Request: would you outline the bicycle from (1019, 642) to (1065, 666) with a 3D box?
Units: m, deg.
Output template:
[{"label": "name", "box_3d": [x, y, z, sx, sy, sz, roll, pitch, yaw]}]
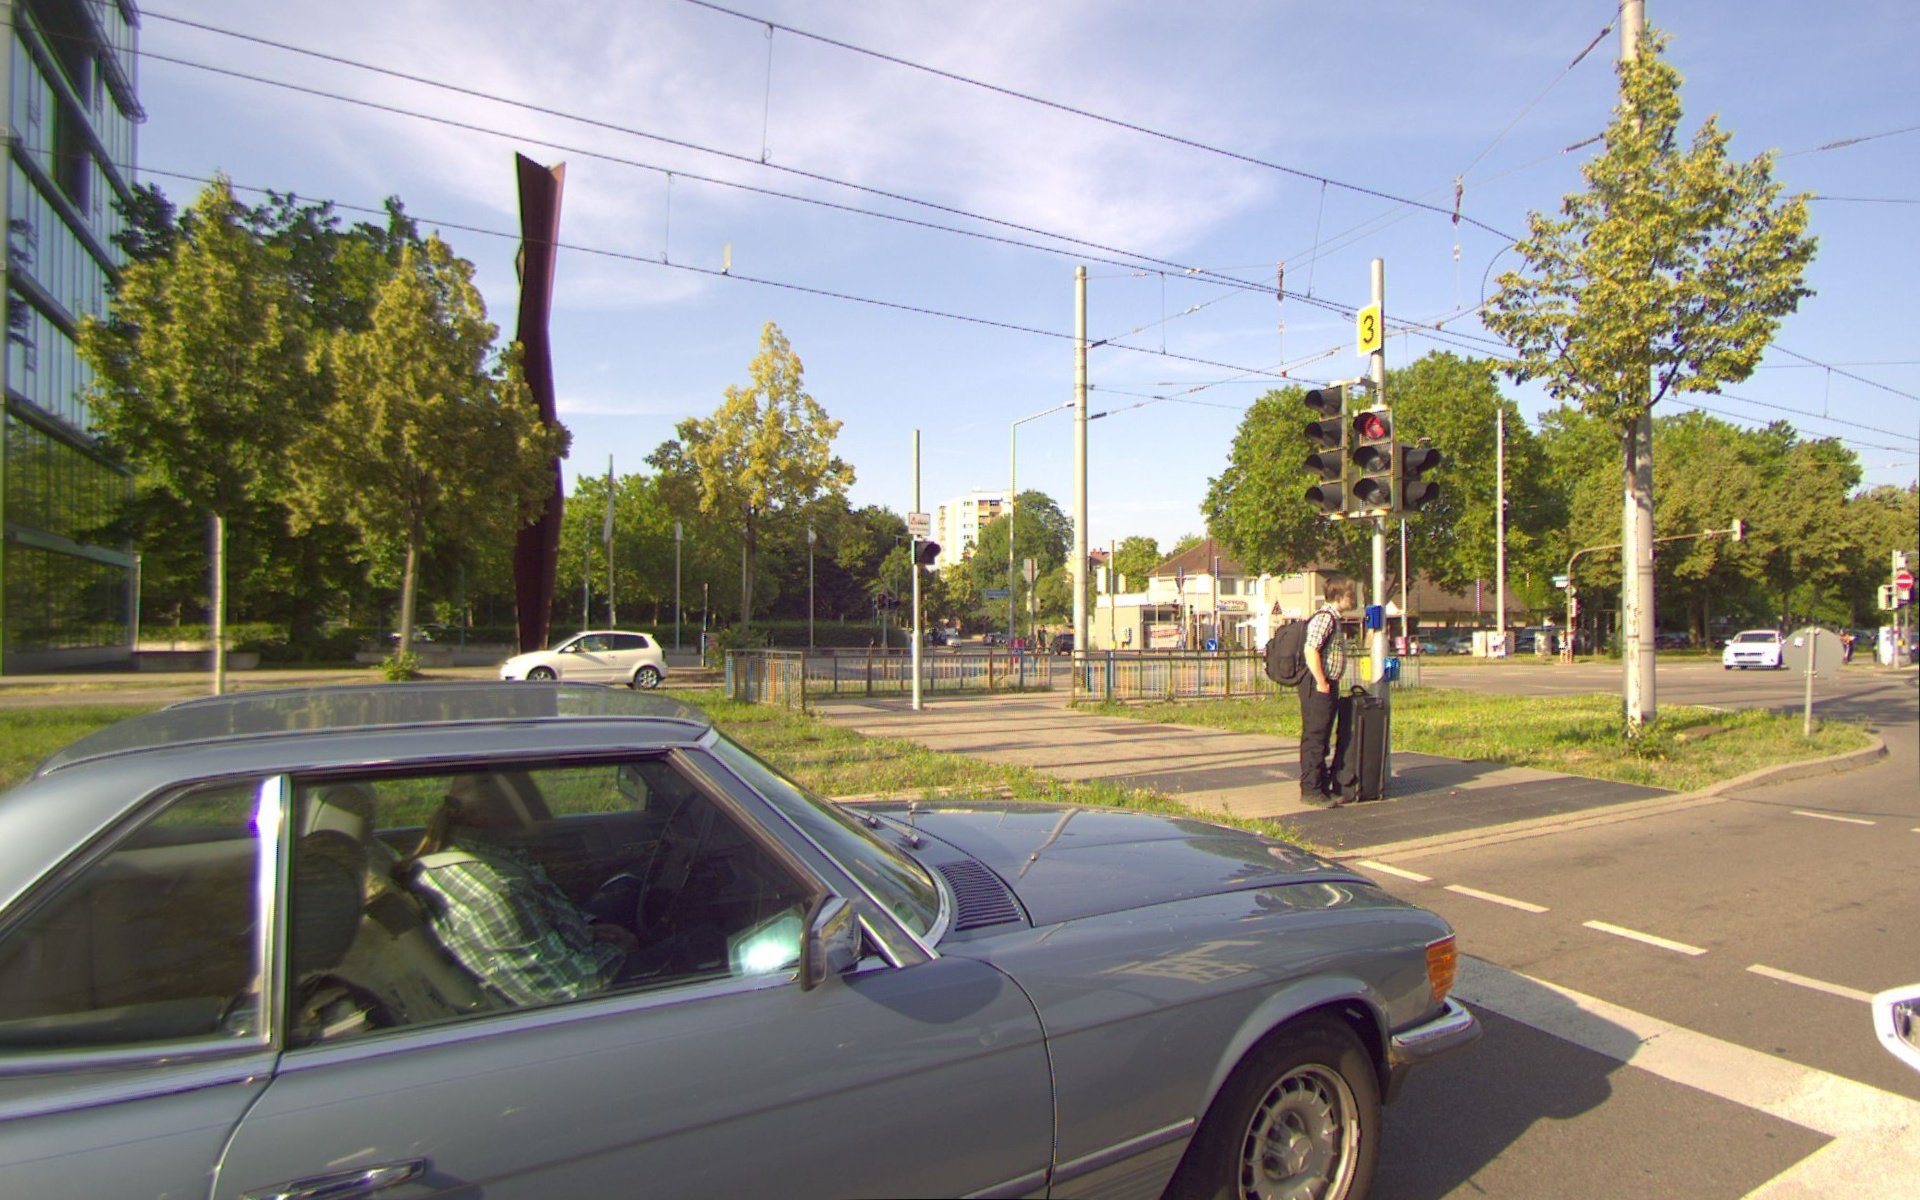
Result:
[{"label": "bicycle", "box_3d": [3.910, 2.553, 47.767, 2.168, 1.055, 0.697, -1, -2, 38]}]

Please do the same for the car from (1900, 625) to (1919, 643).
[{"label": "car", "box_3d": [87.864, 3.117, 91.508, 3.945, 1.580, 1.876, 1, -2, -25]}]

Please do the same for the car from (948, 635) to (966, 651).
[{"label": "car", "box_3d": [-0.356, 4.848, 113.618, 1.961, 1.806, 4.000, 0, -1, -1]}]

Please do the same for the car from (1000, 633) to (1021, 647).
[{"label": "car", "box_3d": [5.645, 4.404, 111.868, 1.667, 1.491, 3.941, 0, -1, -8]}]

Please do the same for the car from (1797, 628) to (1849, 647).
[{"label": "car", "box_3d": [72.181, 3.153, 84.021, 3.945, 1.580, 1.876, 1, -2, -25]}]

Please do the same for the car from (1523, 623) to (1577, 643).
[{"label": "car", "box_3d": [47.934, 2.712, 81.613, 3.945, 1.580, 1.876, 1, -2, -25]}]

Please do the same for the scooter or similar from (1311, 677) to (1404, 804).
[{"label": "scooter or similar", "box_3d": [3.169, 1.102, 8.022, 0.424, 0.919, 0.546, 1, 0, -29]}]

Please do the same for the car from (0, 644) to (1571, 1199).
[{"label": "car", "box_3d": [-0.734, 0.848, 2.217, 4.349, 1.348, 1.754, 0, 1, -31]}]

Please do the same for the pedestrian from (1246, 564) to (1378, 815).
[{"label": "pedestrian", "box_3d": [2.694, 0.650, 7.716, 0.628, 1.816, 0.696, 1, 0, -29]}]

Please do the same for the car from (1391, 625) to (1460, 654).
[{"label": "car", "box_3d": [29.271, 2.481, 63.171, 3.945, 1.773, 1.876, 1, -2, -25]}]

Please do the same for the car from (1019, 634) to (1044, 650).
[{"label": "car", "box_3d": [7.118, 4.181, 100.355, 1.667, 1.491, 3.941, 0, -1, -8]}]

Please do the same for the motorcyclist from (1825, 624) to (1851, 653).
[{"label": "motorcyclist", "box_3d": [37.564, 1.639, 42.967, 0.842, 1.219, 0.774, 0, 1, -44]}]

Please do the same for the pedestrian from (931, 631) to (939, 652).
[{"label": "pedestrian", "box_3d": [-2.017, 3.383, 81.510, 0.654, 1.654, 0.664, 0, -1, -2]}]

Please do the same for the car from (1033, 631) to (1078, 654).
[{"label": "car", "box_3d": [7.516, 3.339, 79.281, 1.971, 1.750, 3.979, 1, -2, -22]}]

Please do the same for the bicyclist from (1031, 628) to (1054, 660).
[{"label": "bicyclist", "box_3d": [3.923, 2.083, 47.769, 0.836, 1.512, 0.697, -1, -2, 38]}]

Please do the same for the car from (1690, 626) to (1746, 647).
[{"label": "car", "box_3d": [58.682, 2.823, 77.766, 3.945, 1.580, 1.876, 1, -2, -25]}]

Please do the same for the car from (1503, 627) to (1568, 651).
[{"label": "car", "box_3d": [38.883, 2.658, 67.861, 3.945, 1.580, 1.876, 1, -2, -25]}]

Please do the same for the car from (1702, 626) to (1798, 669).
[{"label": "car", "box_3d": [30.335, 1.830, 38.527, 4.056, 1.524, 1.979, 3, -3, -38]}]

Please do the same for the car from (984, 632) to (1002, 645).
[{"label": "car", "box_3d": [4.026, 4.742, 123.487, 1.667, 1.491, 3.941, 0, -1, -8]}]

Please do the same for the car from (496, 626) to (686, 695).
[{"label": "car", "box_3d": [-9.109, 1.426, 24.838, 4.174, 1.548, 1.868, 0, -1, -30]}]

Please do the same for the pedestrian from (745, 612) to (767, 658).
[{"label": "pedestrian", "box_3d": [-9.644, 1.651, 47.491, 0.864, 2.135, 0.724, -1, -3, -1]}]

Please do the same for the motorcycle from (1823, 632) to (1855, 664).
[{"label": "motorcycle", "box_3d": [37.713, 2.032, 43.100, 2.532, 1.280, 0.810, 1, 0, -44]}]

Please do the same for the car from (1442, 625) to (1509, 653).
[{"label": "car", "box_3d": [33.496, 2.516, 65.247, 3.945, 1.773, 1.876, 1, -2, -25]}]

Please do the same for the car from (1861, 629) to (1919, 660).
[{"label": "car", "box_3d": [45.860, 2.158, 48.870, 4.522, 1.480, 1.721, 1, -3, -31]}]
